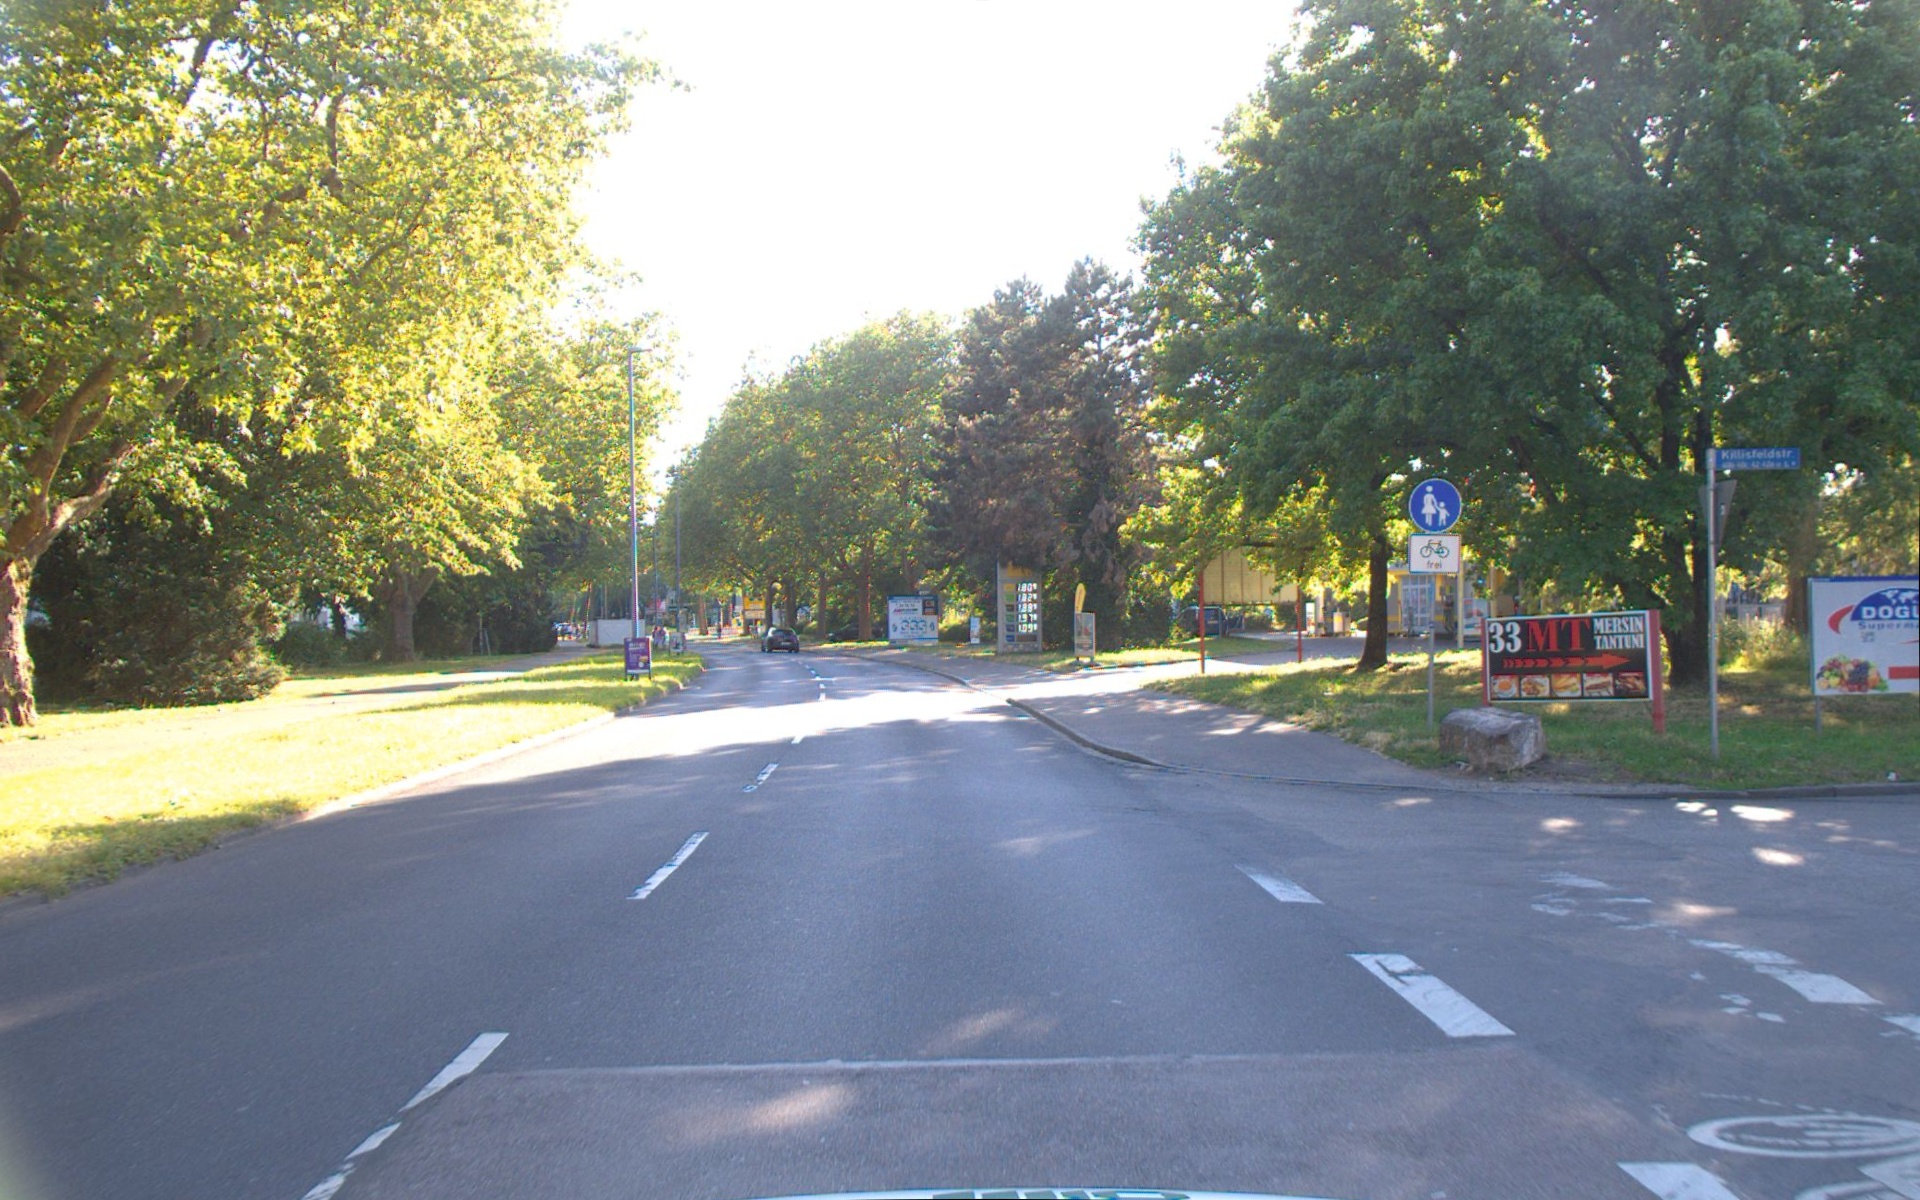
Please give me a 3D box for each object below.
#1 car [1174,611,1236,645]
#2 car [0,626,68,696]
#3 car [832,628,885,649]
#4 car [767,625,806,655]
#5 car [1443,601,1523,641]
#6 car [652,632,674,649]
[{"bbox_3d":[10.961,1.262,74.231,1.805,1.445,3.995,-1,-1,-5],"label":"car"},{"bbox_3d":[-22.351,1.342,36.857,3.913,1.534,1.909,0,-1,-9],"label":"car"},{"bbox_3d":[-7.988,3.042,129.766,3.917,1.468,1.755,-2,-1,-12],"label":"car"},{"bbox_3d":[-9.886,2.287,94.425,1.802,1.633,3.861,-1,-1,-1],"label":"car"},{"bbox_3d":[24.034,0.989,76.194,1.778,1.758,4.390,-2,-1,-8],"label":"car"},{"bbox_3d":[-37.472,5.048,208.545,1.952,2.049,4.001,-1,-1,1],"label":"car"}]
